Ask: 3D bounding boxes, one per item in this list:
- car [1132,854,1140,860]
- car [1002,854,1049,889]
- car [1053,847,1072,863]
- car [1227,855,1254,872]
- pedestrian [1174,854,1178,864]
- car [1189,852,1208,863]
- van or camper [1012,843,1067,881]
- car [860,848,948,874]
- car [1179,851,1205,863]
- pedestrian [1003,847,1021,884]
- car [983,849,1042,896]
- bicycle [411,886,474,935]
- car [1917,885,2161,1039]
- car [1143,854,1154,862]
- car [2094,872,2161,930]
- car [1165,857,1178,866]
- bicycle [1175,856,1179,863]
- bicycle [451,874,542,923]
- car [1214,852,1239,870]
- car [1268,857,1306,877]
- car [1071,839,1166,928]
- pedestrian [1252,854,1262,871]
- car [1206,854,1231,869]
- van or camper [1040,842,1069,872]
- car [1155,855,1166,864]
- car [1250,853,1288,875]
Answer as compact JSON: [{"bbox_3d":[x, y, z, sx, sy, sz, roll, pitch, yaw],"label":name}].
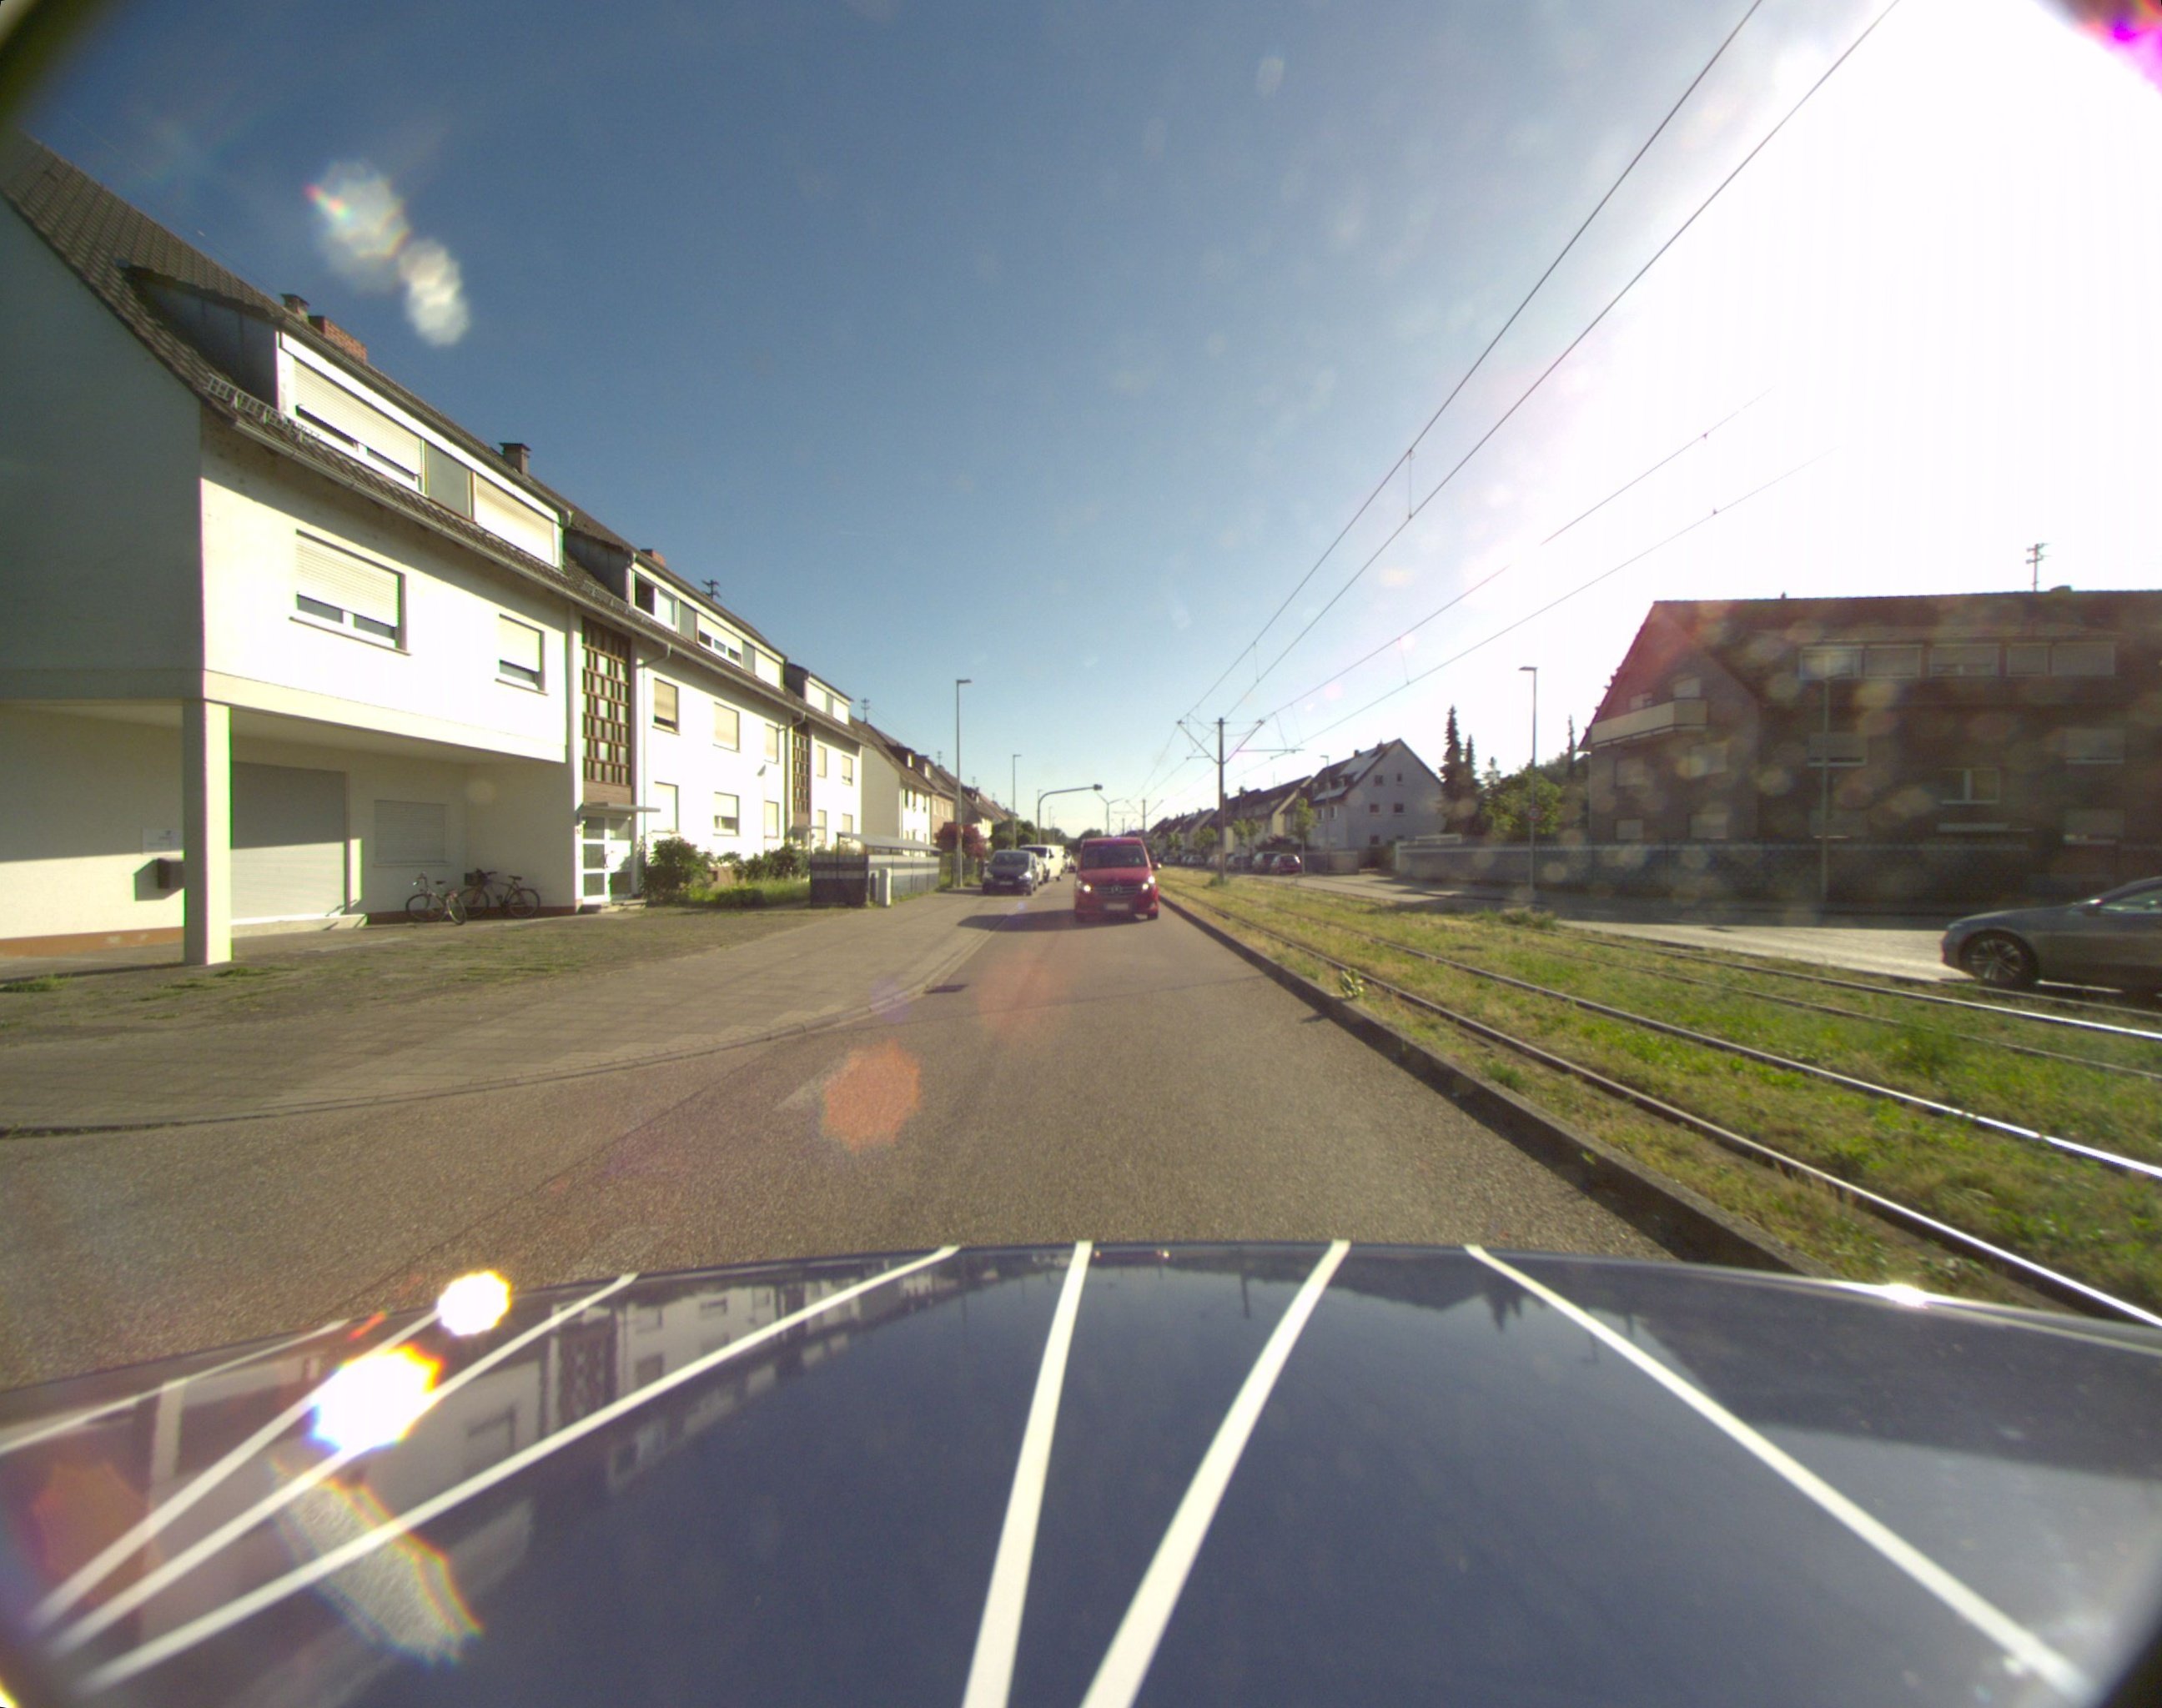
[{"bbox_3d":[13.764,0.776,190.919,1.705,1.389,4.092,-2,0,-1],"label":"car"},{"bbox_3d":[-2.495,0.746,34.943,1.660,1.484,4.160,0,1,2],"label":"car"},{"bbox_3d":[-1.871,0.091,78.595,1.730,1.636,4.318,2,0,0],"label":"car"},{"bbox_3d":[15.443,0.898,73.760,1.680,1.482,4.049,-2,0,-2],"label":"car"},{"bbox_3d":[17.276,0.919,138.206,0.617,1.804,0.678,-2,1,-9],"label":"pedestrian"},{"bbox_3d":[15.792,0.476,102.341,1.693,1.467,4.442,-2,0,-1],"label":"car"},{"bbox_3d":[-2.137,0.403,40.914,2.032,1.945,5.298,0,0,7],"label":"van or camper"},{"bbox_3d":[-10.278,0.402,44.401,4.724,1.469,1.906,0,1,-1],"label":"car"},{"bbox_3d":[20.410,0.569,139.896,4.472,2.068,1.787,-3,1,0],"label":"car"},{"bbox_3d":[-3.650,0.613,40.330,0.700,1.901,0.759,-1,1,9],"label":"pedestrian"},{"bbox_3d":[-2.571,0.668,29.469,1.795,1.619,4.860,2,0,0],"label":"car"},{"bbox_3d":[-12.478,1.078,14.833,1.539,0.866,0.492,-1,1,33],"label":"bicycle"},{"bbox_3d":[11.244,1.111,7.246,1.692,1.381,4.387,2,0,0],"label":"car"},{"bbox_3d":[14.629,0.862,165.277,1.926,1.551,4.857,-2,0,-2],"label":"car"},{"bbox_3d":[28.890,1.159,19.249,3.870,1.421,1.840,-1,-2,1],"label":"car"},{"bbox_3d":[15.628,1.248,131.399,1.662,1.428,4.102,-1,0,-1],"label":"car"},{"bbox_3d":[17.448,0.958,138.144,0.478,1.156,1.872,-1,1,5],"label":"bicycle"},{"bbox_3d":[-12.514,0.955,16.263,1.712,0.997,0.332,-1,1,3],"label":"bicycle"},{"bbox_3d":[15.305,0.750,80.069,1.749,1.812,4.841,-2,0,1],"label":"car"},{"bbox_3d":[14.920,0.910,55.271,1.699,1.396,4.079,0,0,1],"label":"car"},{"bbox_3d":[0.777,0.621,19.180,1.999,1.889,5.389,-1,0,-1],"label":"car"},{"bbox_3d":[17.325,0.789,74.640,0.697,1.630,0.919,-2,1,-1],"label":"pedestrian"},{"bbox_3d":[15.412,0.809,85.464,1.965,1.531,4.556,-2,0,0],"label":"car"},{"bbox_3d":[-2.096,0.199,61.636,1.998,2.258,6.304,1,0,1],"label":"van or camper"},{"bbox_3d":[15.041,1.019,144.320,1.623,1.503,4.085,-1,0,1],"label":"car"},{"bbox_3d":[14.936,0.768,60.656,1.824,1.674,4.846,-2,0,1],"label":"car"}]
